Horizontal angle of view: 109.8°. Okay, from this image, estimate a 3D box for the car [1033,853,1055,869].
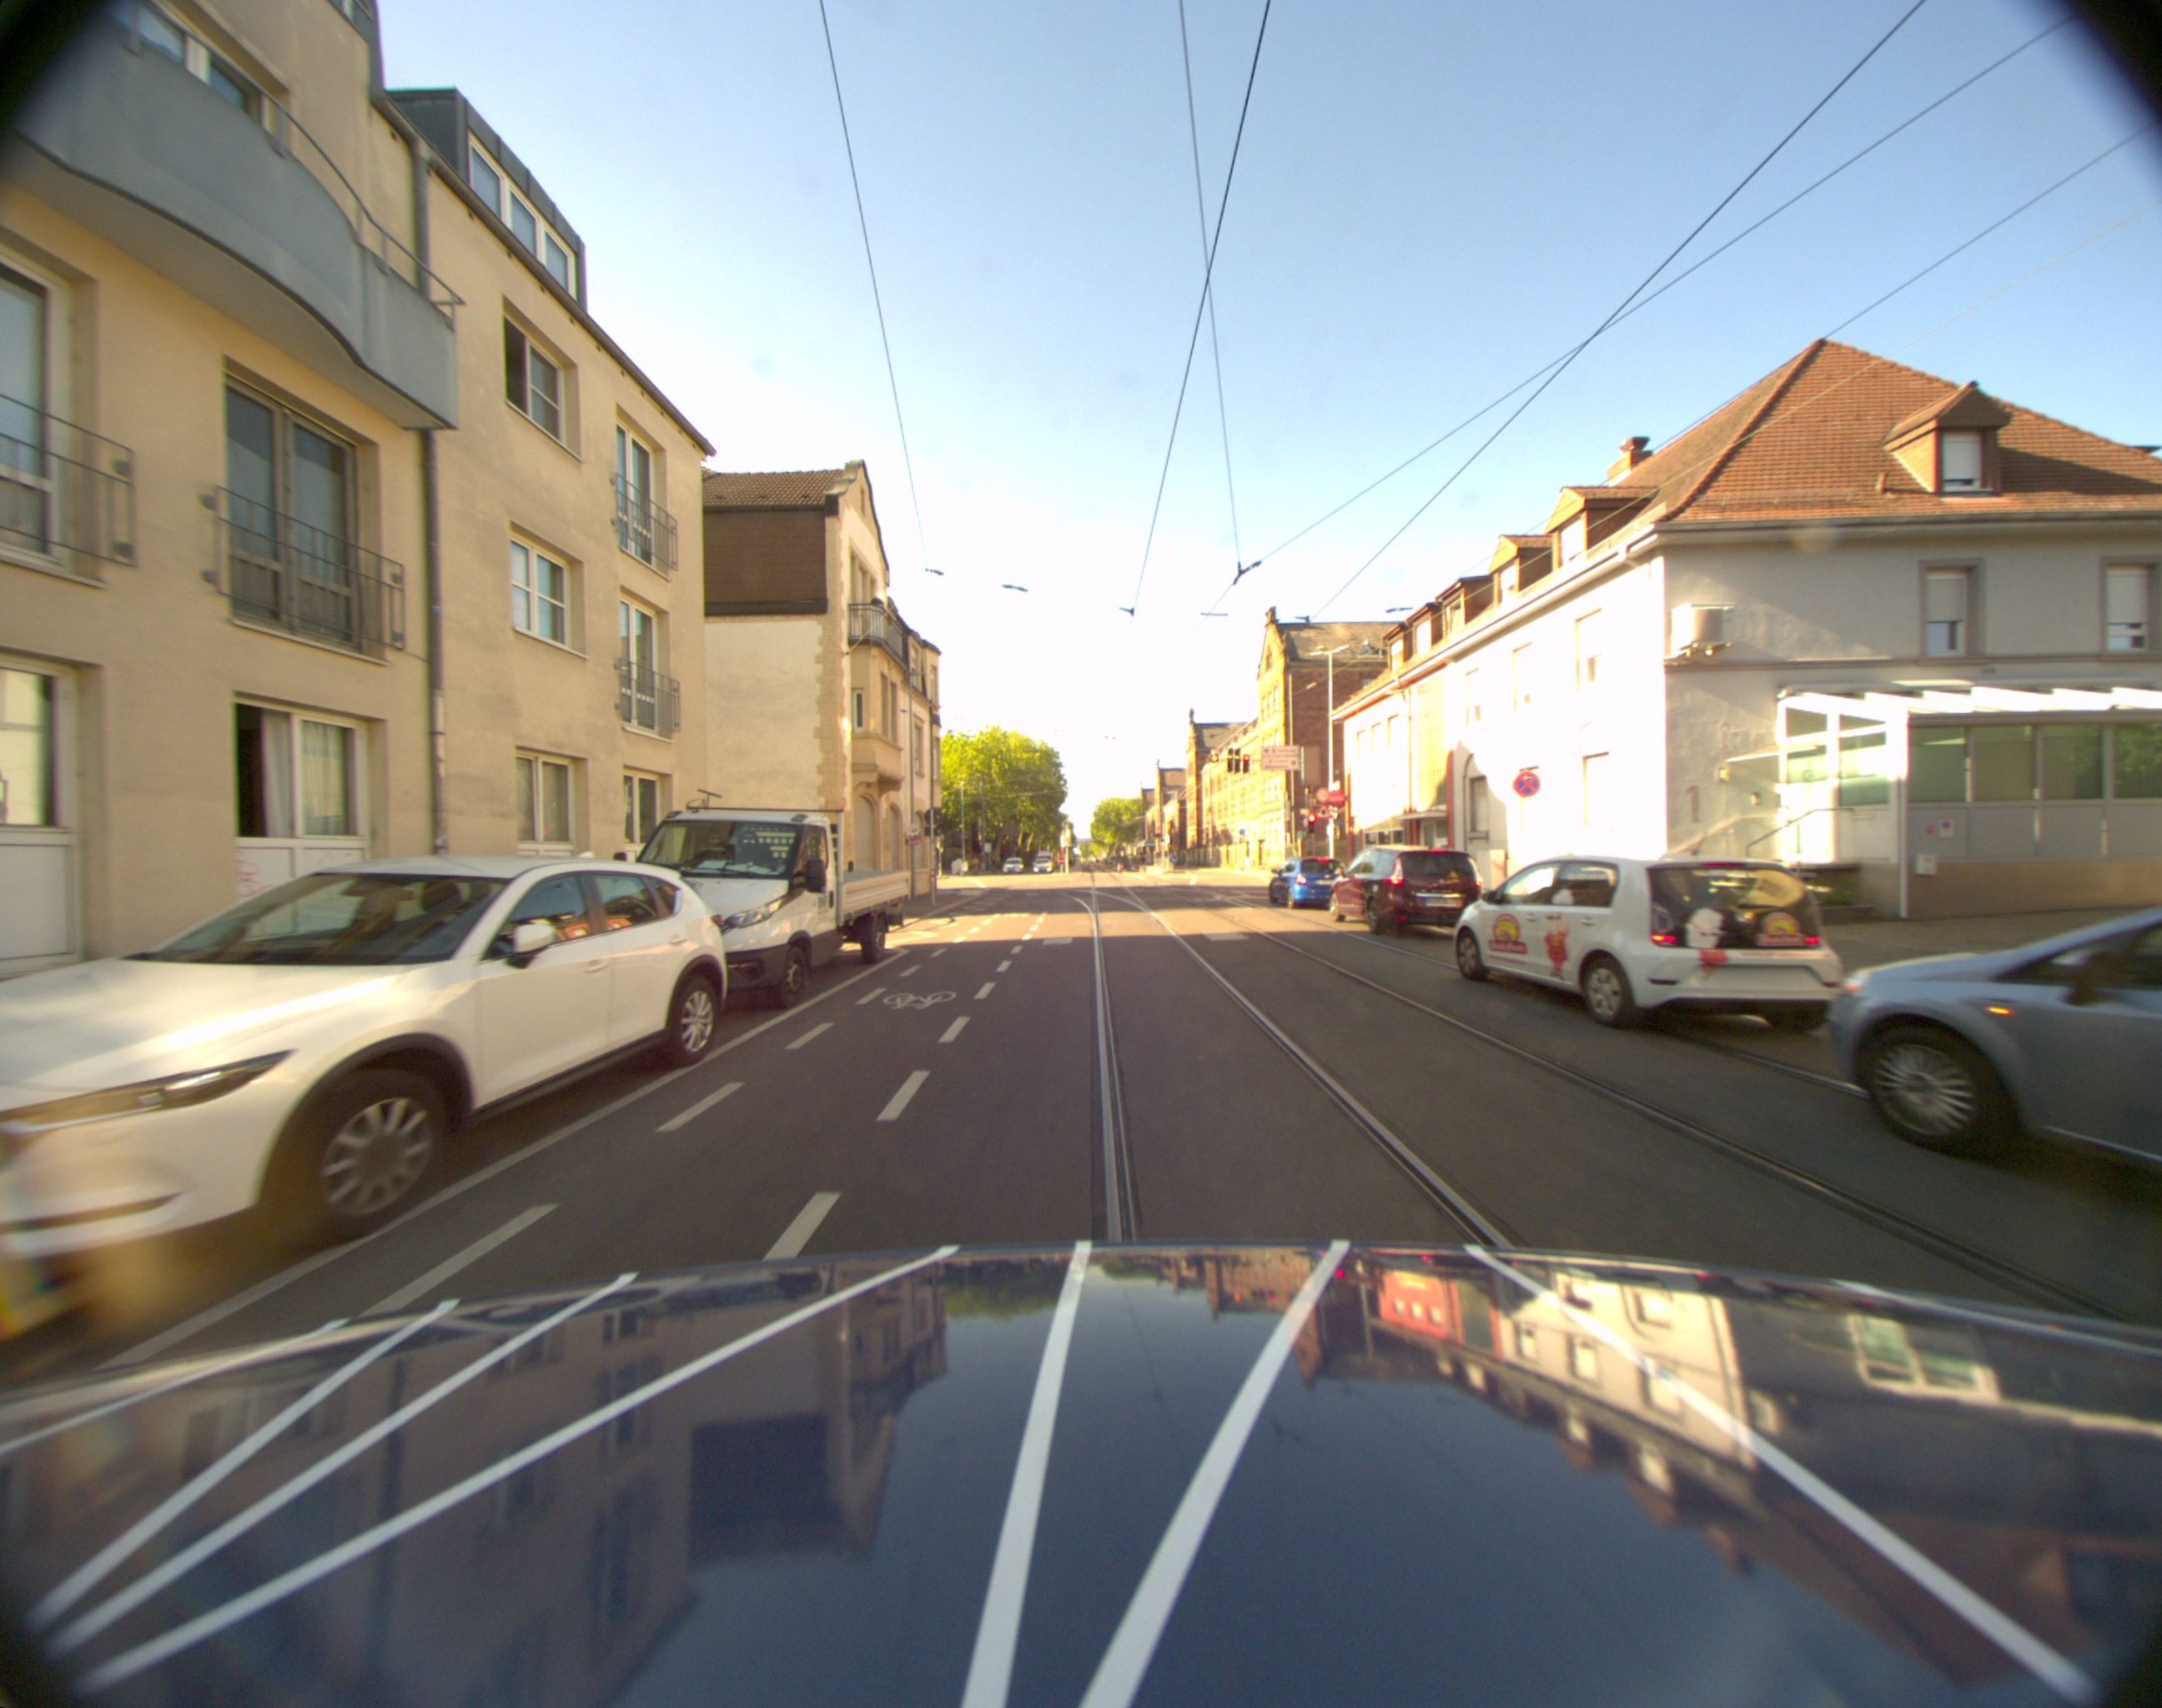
[{"bbox_3d":[-3.716,0.706,77.119,1.984,1.539,4.035,-1,-1,1],"label":"car"}]

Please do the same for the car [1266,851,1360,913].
[{"bbox_3d":[6.430,0.710,21.473,1.687,1.558,3.929,1,0,4],"label":"car"}]

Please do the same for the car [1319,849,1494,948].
[{"bbox_3d":[6.081,0.721,14.844,1.742,1.602,4.716,0,1,5],"label":"car"}]

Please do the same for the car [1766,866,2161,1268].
[{"bbox_3d":[4.807,0.814,2.408,1.621,1.452,4.075,0,1,1],"label":"car"}]

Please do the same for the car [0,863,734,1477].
[{"bbox_3d":[-3.916,0.999,4.369,1.743,1.736,4.255,-3,0,1],"label":"car"}]

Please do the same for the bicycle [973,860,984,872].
[{"bbox_3d":[-9.455,1.144,70.290,0.690,1.027,2.100,-1,-2,1],"label":"bicycle"}]

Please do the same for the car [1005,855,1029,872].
[{"bbox_3d":[-6.361,0.917,75.553,1.911,1.608,4.572,-2,-1,0],"label":"car"}]

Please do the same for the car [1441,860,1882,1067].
[{"bbox_3d":[5.102,0.813,7.374,1.586,1.452,3.613,0,1,2],"label":"car"}]

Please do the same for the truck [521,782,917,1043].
[{"bbox_3d":[-4.128,0.558,10.354,2.301,2.463,6.146,-1,0,1],"label":"truck"}]

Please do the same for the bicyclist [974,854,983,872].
[{"bbox_3d":[-9.458,0.834,70.038,0.670,1.718,0.623,-1,-2,0],"label":"bicyclist"}]

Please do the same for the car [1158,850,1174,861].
[{"bbox_3d":[11.076,0.192,99.039,1.740,1.434,4.115,-1,0,2],"label":"car"}]

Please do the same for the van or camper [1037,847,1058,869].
[{"bbox_3d":[-3.738,0.459,86.222,1.998,2.346,5.600,-1,-1,1],"label":"van or camper"}]
